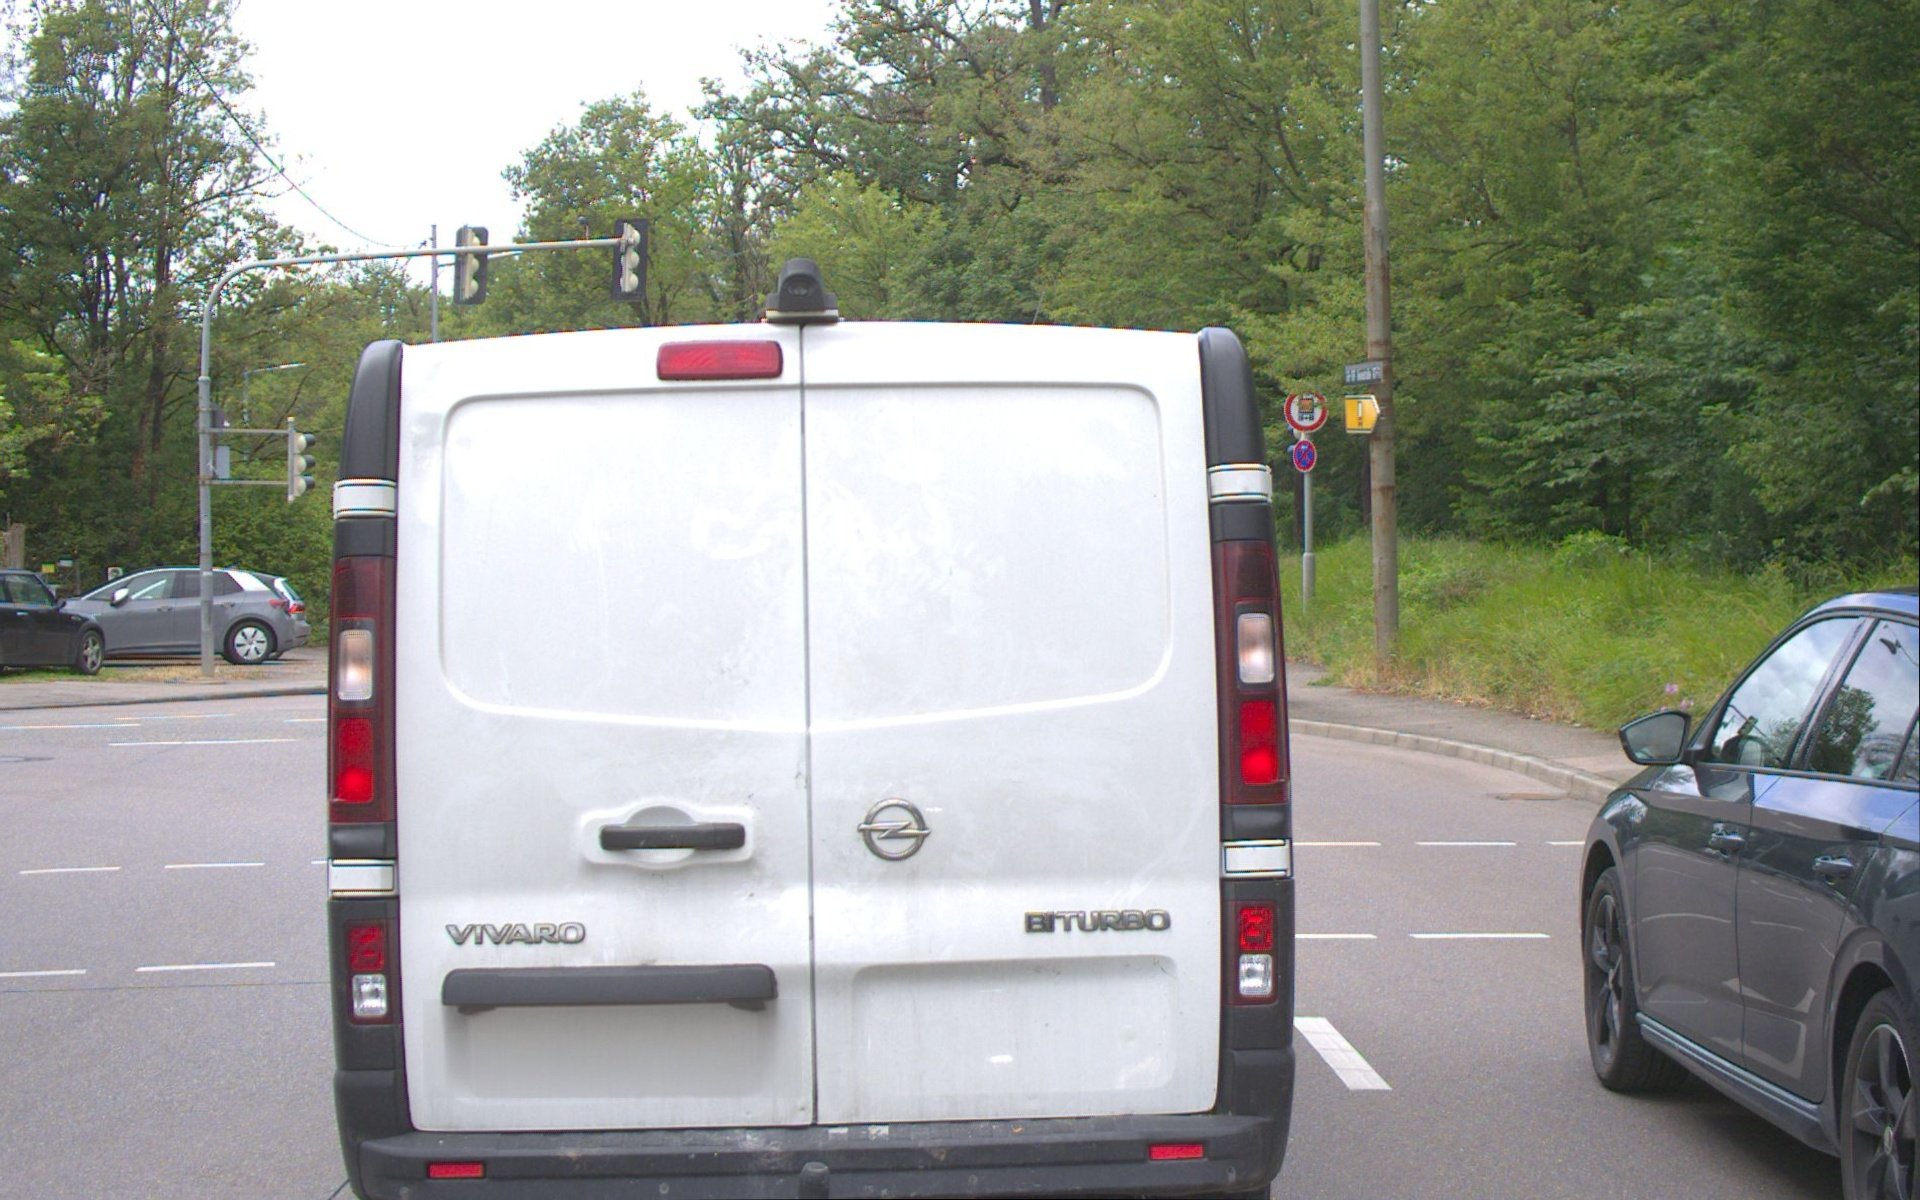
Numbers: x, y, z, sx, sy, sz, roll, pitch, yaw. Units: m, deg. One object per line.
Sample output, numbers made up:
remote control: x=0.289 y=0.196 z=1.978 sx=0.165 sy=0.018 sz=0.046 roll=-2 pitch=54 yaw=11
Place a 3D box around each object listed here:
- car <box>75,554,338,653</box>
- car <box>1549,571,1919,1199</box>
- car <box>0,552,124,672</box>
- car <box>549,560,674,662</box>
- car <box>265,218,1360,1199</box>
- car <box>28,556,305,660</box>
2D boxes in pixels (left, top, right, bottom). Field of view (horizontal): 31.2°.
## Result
car: x=-12.468 y=0.032 z=56.836 sx=4.085 sy=1.548 sz=1.855 roll=0 pitch=1 yaw=-17
car: x=2.673 y=0.672 z=8.057 sx=1.792 sy=1.445 sz=4.000 roll=0 pitch=1 yaw=-2
car: x=-12.325 y=0.129 z=43.524 sx=1.699 sy=1.444 sz=3.539 roll=2 pitch=1 yaw=19
car: x=-5.392 y=0.142 z=53.624 sx=1.856 sy=1.501 sz=4.001 roll=0 pitch=1 yaw=-5
car: x=-0.370 y=0.329 z=8.453 sx=1.916 sy=2.046 sz=4.615 roll=1 pitch=1 yaw=-3
car: x=-12.420 y=0.100 z=53.770 sx=4.085 sy=1.548 sz=1.855 roll=0 pitch=1 yaw=-17
